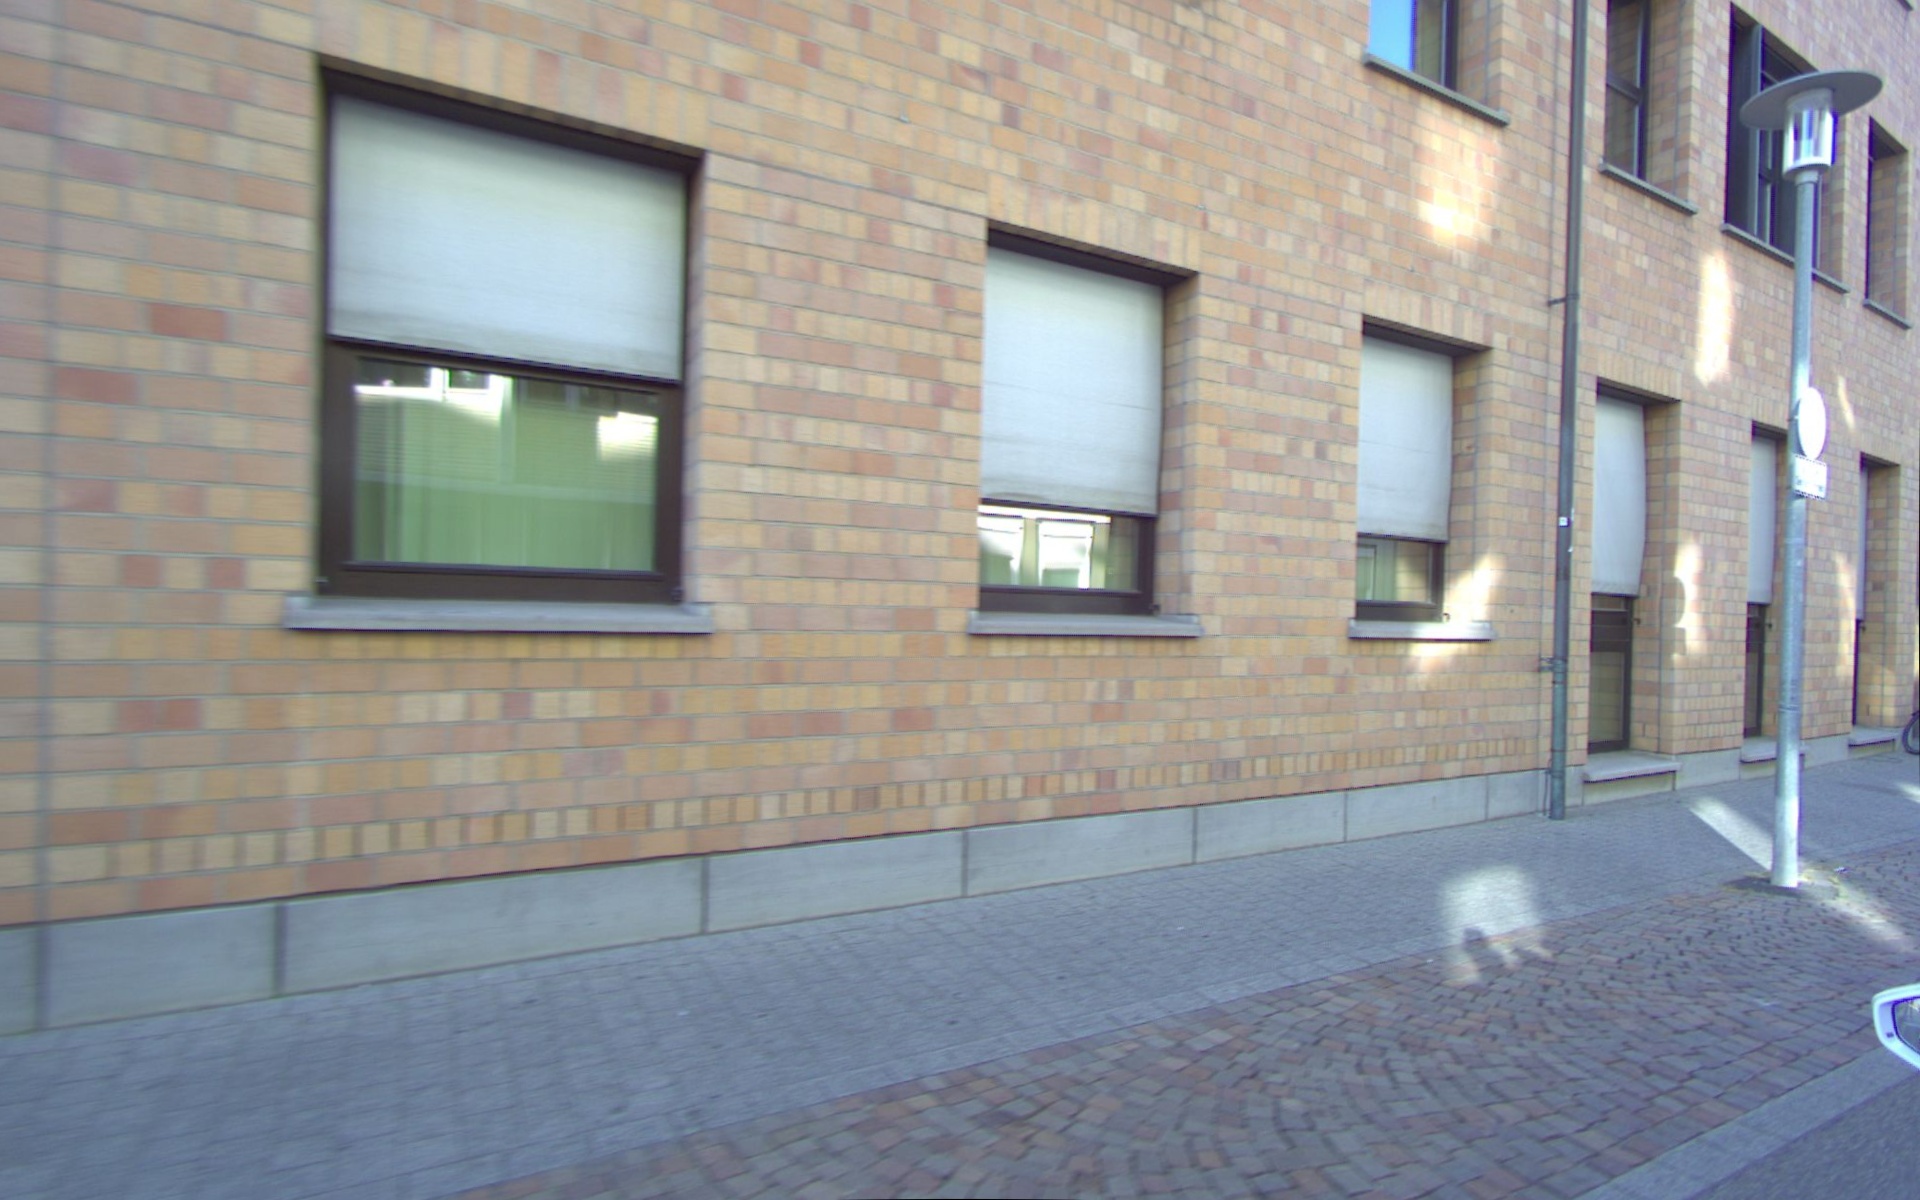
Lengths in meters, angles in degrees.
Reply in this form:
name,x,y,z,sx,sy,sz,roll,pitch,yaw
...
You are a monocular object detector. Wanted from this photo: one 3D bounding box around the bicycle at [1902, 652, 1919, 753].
name,x,y,z,sx,sy,sz,roll,pitch,yaw
bicycle,12.242,1.253,12.391,1.789,1.178,0.626,1,3,-40
